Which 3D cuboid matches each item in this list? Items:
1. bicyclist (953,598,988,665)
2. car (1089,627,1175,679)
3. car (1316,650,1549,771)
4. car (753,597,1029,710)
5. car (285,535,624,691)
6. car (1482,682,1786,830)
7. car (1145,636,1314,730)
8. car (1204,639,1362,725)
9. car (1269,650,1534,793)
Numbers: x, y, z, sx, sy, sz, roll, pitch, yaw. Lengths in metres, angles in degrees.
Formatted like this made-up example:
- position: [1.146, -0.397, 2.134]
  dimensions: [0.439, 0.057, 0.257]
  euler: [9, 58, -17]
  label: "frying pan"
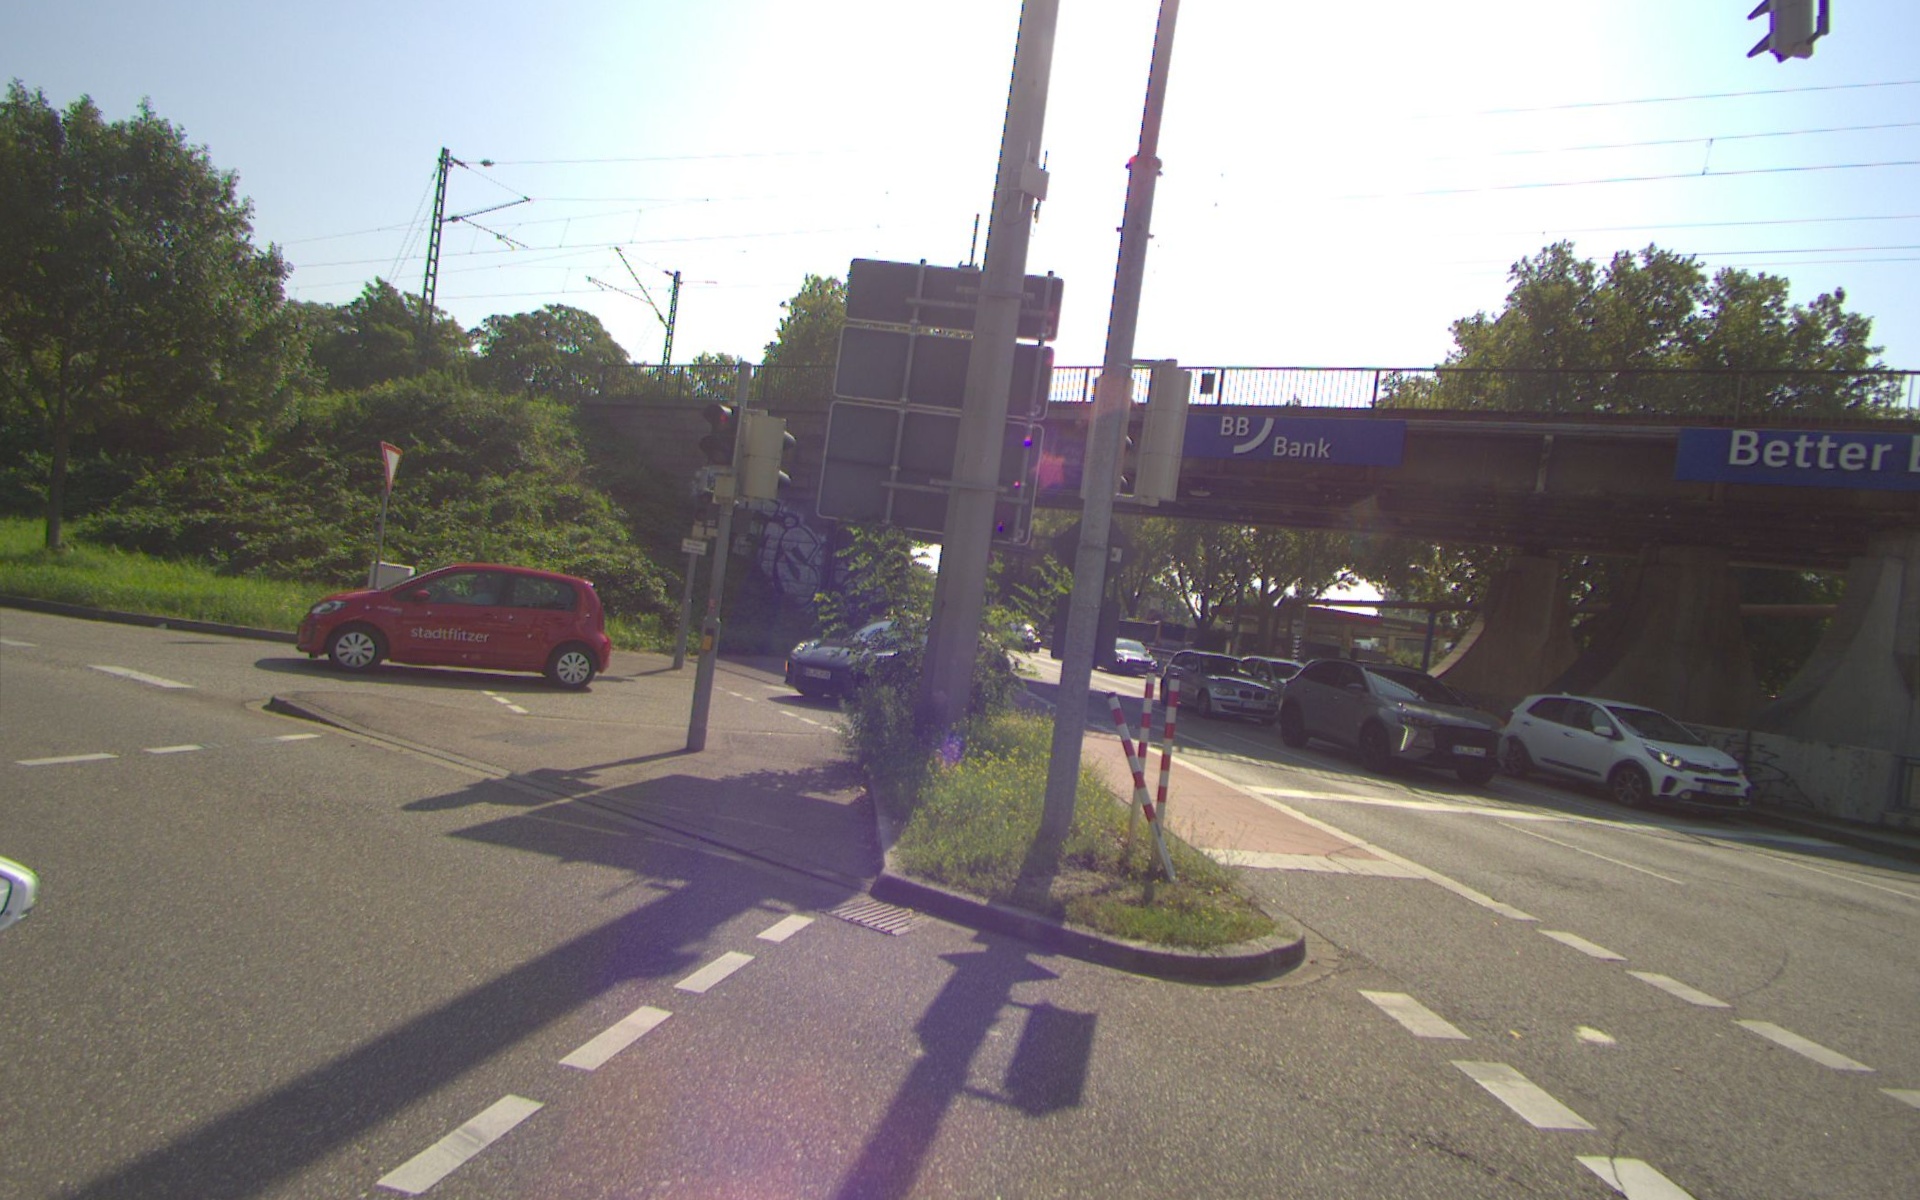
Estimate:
- position: [0.284, 0.838, 26.953]
  dimensions: [0.699, 1.678, 0.970]
  euler: [8, 0, 1]
  label: "bicyclist"
- position: [6.773, 2.062, 40.031]
  dimensions: [1.827, 1.501, 4.176]
  euler: [9, 0, -11]
  label: "car"
- position: [9.465, 2.145, 20.626]
  dimensions: [1.968, 1.592, 4.335]
  euler: [9, 1, -11]
  label: "car"
- position: [-0.955, 0.945, 16.922]
  dimensions: [1.968, 1.481, 4.874]
  euler: [5, -1, 34]
  label: "car"
- position: [-6.329, 0.196, 12.798]
  dimensions: [3.517, 1.484, 1.631]
  euler: [8, -1, -31]
  label: "car"
- position: [10.256, 2.314, 15.674]
  dimensions: [1.698, 1.557, 3.688]
  euler: [7, -1, -11]
  label: "car"
- position: [6.102, 1.836, 23.377]
  dimensions: [1.967, 1.540, 4.337]
  euler: [6, 0, -11]
  label: "car"
- position: [8.351, 2.073, 26.505]
  dimensions: [1.968, 1.488, 4.335]
  euler: [9, 1, -11]
  label: "car"
- position: [6.901, 1.820, 16.367]
  dimensions: [1.874, 1.636, 4.472]
  euler: [7, -1, -5]
  label: "car"
